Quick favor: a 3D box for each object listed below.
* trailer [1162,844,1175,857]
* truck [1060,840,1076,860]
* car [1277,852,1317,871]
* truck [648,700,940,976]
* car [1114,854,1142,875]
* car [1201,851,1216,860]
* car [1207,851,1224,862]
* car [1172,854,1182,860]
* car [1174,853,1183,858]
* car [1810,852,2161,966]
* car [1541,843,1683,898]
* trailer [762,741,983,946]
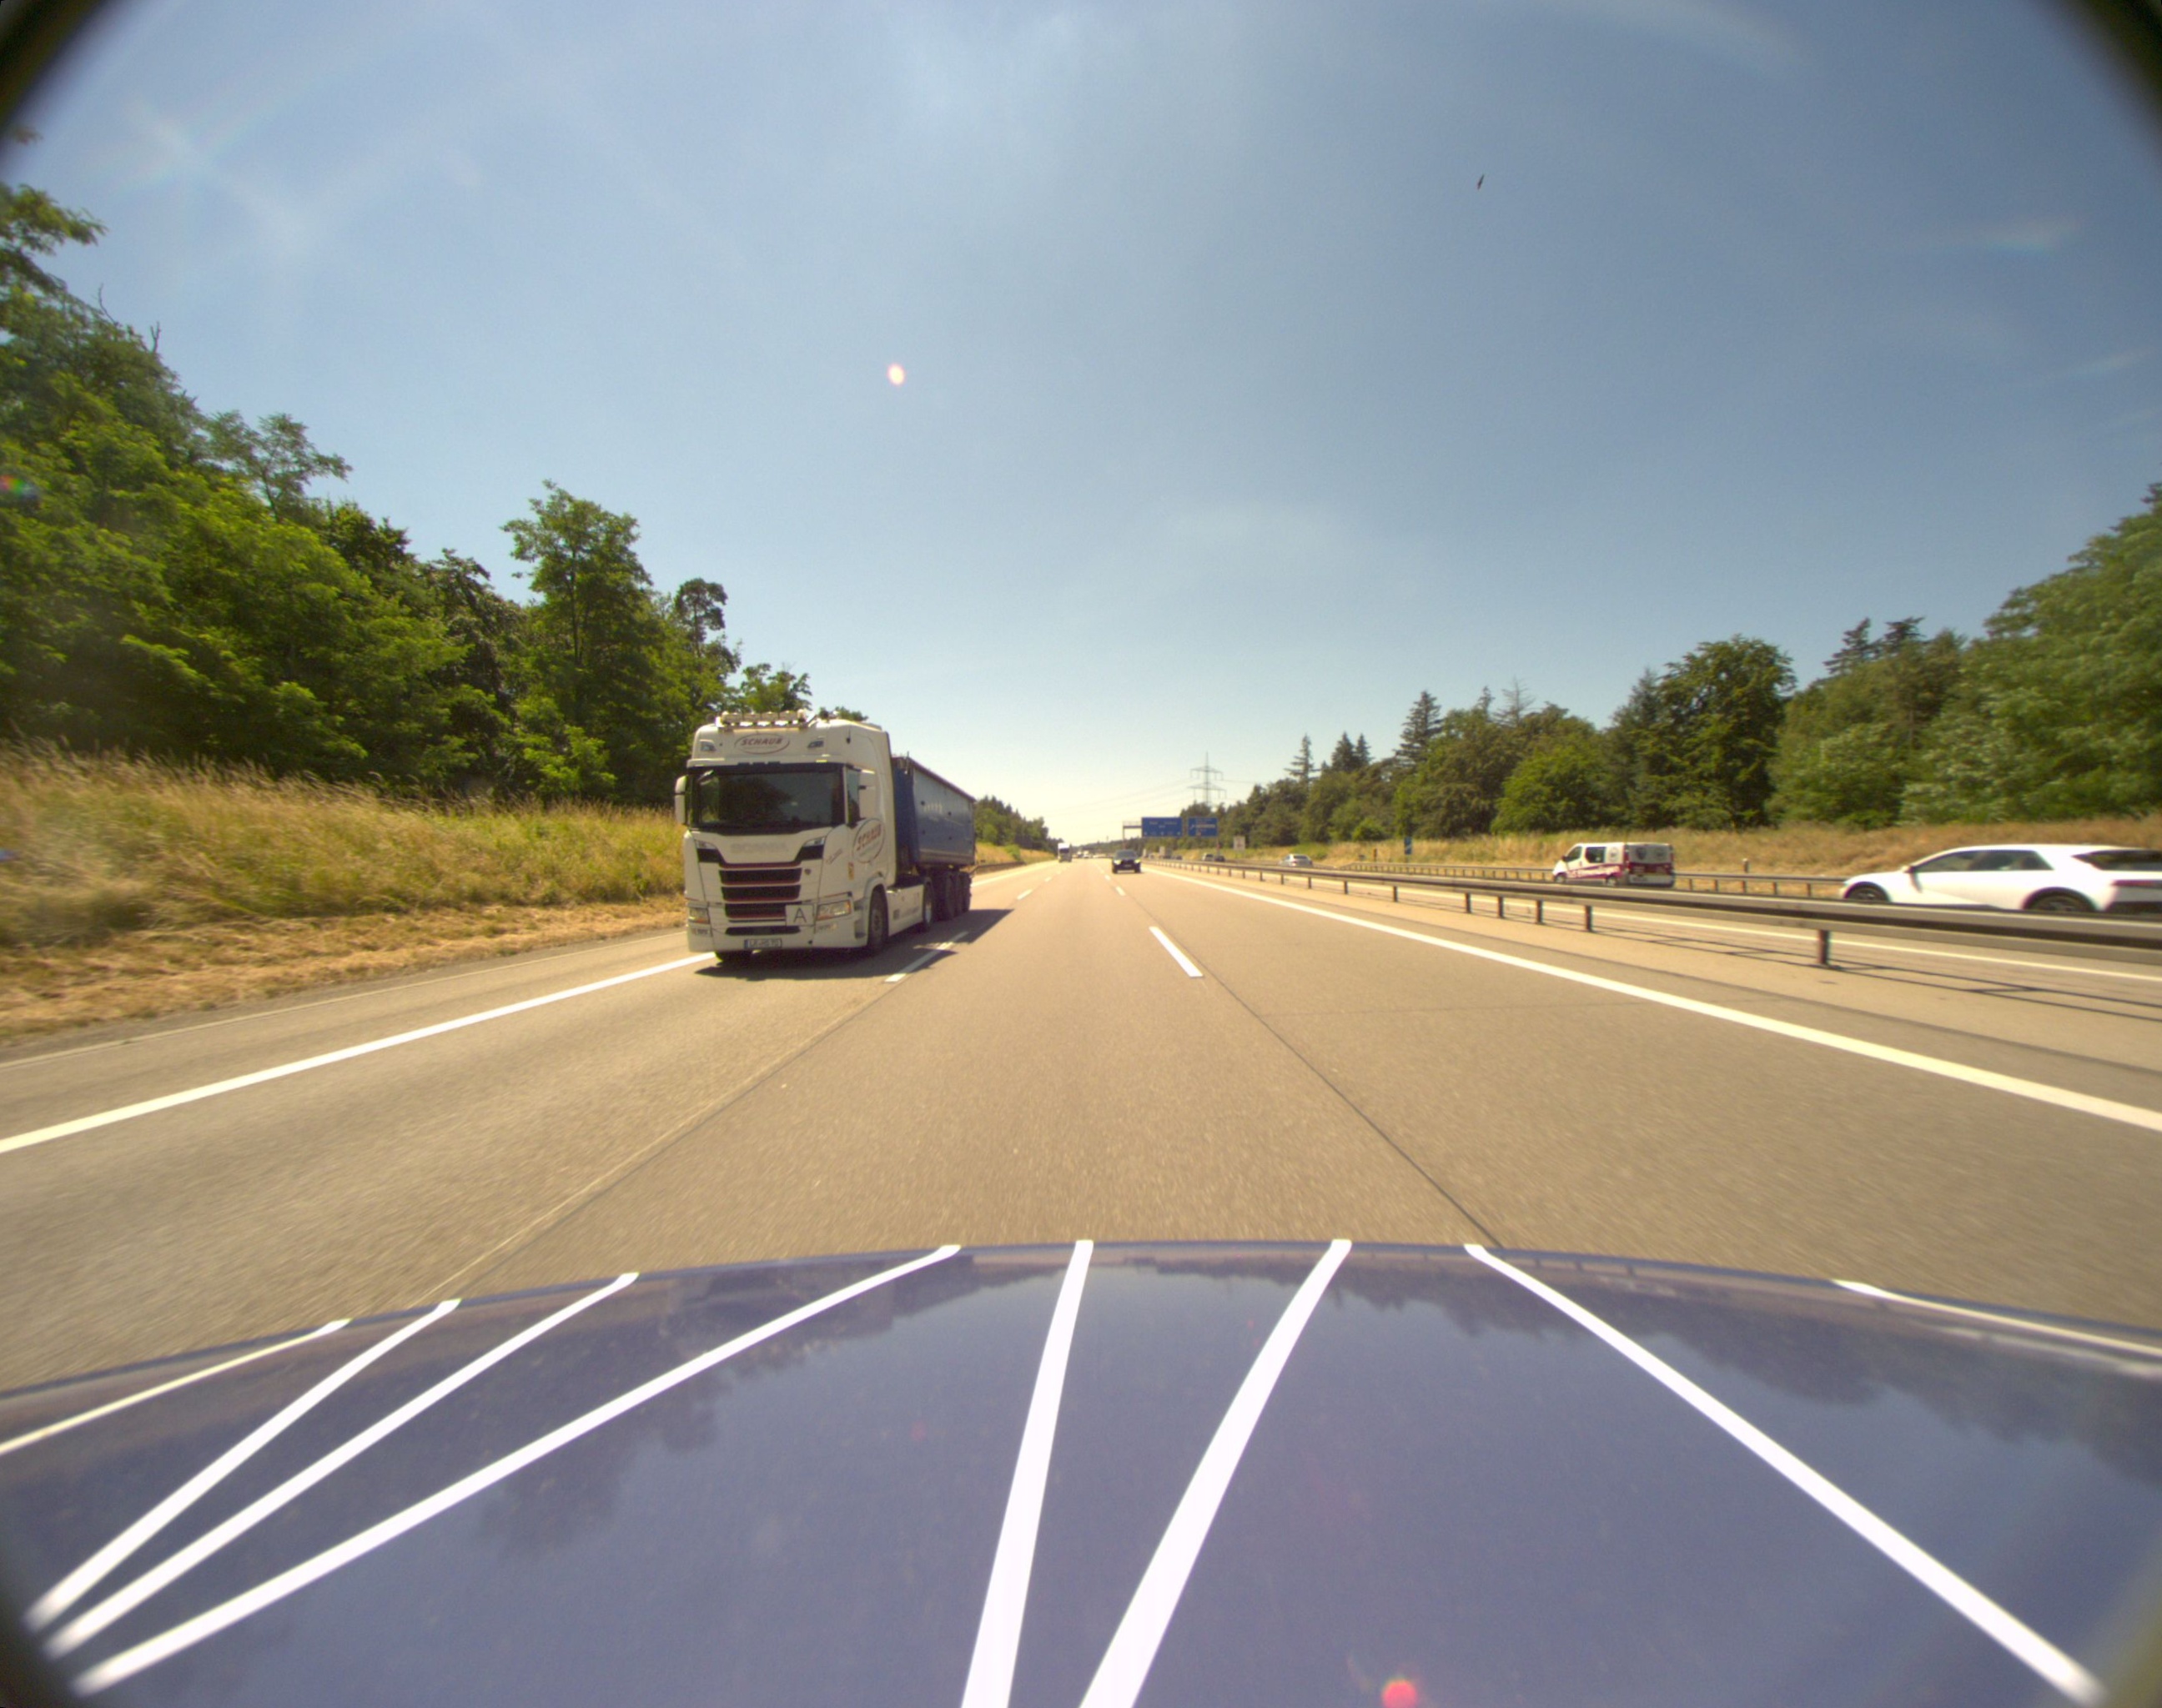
[{"bbox_3d":[28.039,-1.214,243.904,3.176,3.908,13.965,-2,0,2],"label":"trailer"},{"bbox_3d":[-2.790,-0.791,161.427,2.979,4.117,5.350,-1,0,2],"label":"truck"},{"bbox_3d":[17.622,0.576,62.202,1.856,1.518,5.204,0,0,1],"label":"car"},{"bbox_3d":[-4.495,-0.196,13.405,2.691,3.736,5.945,-1,0,2],"label":"truck"},{"bbox_3d":[3.449,0.764,56.617,1.898,1.417,4.262,-2,0,1],"label":"car"},{"bbox_3d":[24.749,0.290,147.598,1.998,1.817,4.642,1,0,0],"label":"car"},{"bbox_3d":[22.480,0.410,127.221,1.998,1.693,4.979,1,0,0],"label":"car"},{"bbox_3d":[27.862,0.825,220.691,2.091,1.455,4.940,0,3,1],"label":"car"},{"bbox_3d":[25.891,0.346,202.018,1.931,1.454,4.942,0,0,1],"label":"car"},{"bbox_3d":[16.817,0.824,13.862,1.998,1.684,5.244,1,0,1],"label":"car"},{"bbox_3d":[20.848,0.580,30.198,1.998,1.941,5.244,1,0,1],"label":"car"},{"bbox_3d":[-4.435,-0.162,18.587,2.744,3.736,9.109,-1,0,1],"label":"trailer"}]
